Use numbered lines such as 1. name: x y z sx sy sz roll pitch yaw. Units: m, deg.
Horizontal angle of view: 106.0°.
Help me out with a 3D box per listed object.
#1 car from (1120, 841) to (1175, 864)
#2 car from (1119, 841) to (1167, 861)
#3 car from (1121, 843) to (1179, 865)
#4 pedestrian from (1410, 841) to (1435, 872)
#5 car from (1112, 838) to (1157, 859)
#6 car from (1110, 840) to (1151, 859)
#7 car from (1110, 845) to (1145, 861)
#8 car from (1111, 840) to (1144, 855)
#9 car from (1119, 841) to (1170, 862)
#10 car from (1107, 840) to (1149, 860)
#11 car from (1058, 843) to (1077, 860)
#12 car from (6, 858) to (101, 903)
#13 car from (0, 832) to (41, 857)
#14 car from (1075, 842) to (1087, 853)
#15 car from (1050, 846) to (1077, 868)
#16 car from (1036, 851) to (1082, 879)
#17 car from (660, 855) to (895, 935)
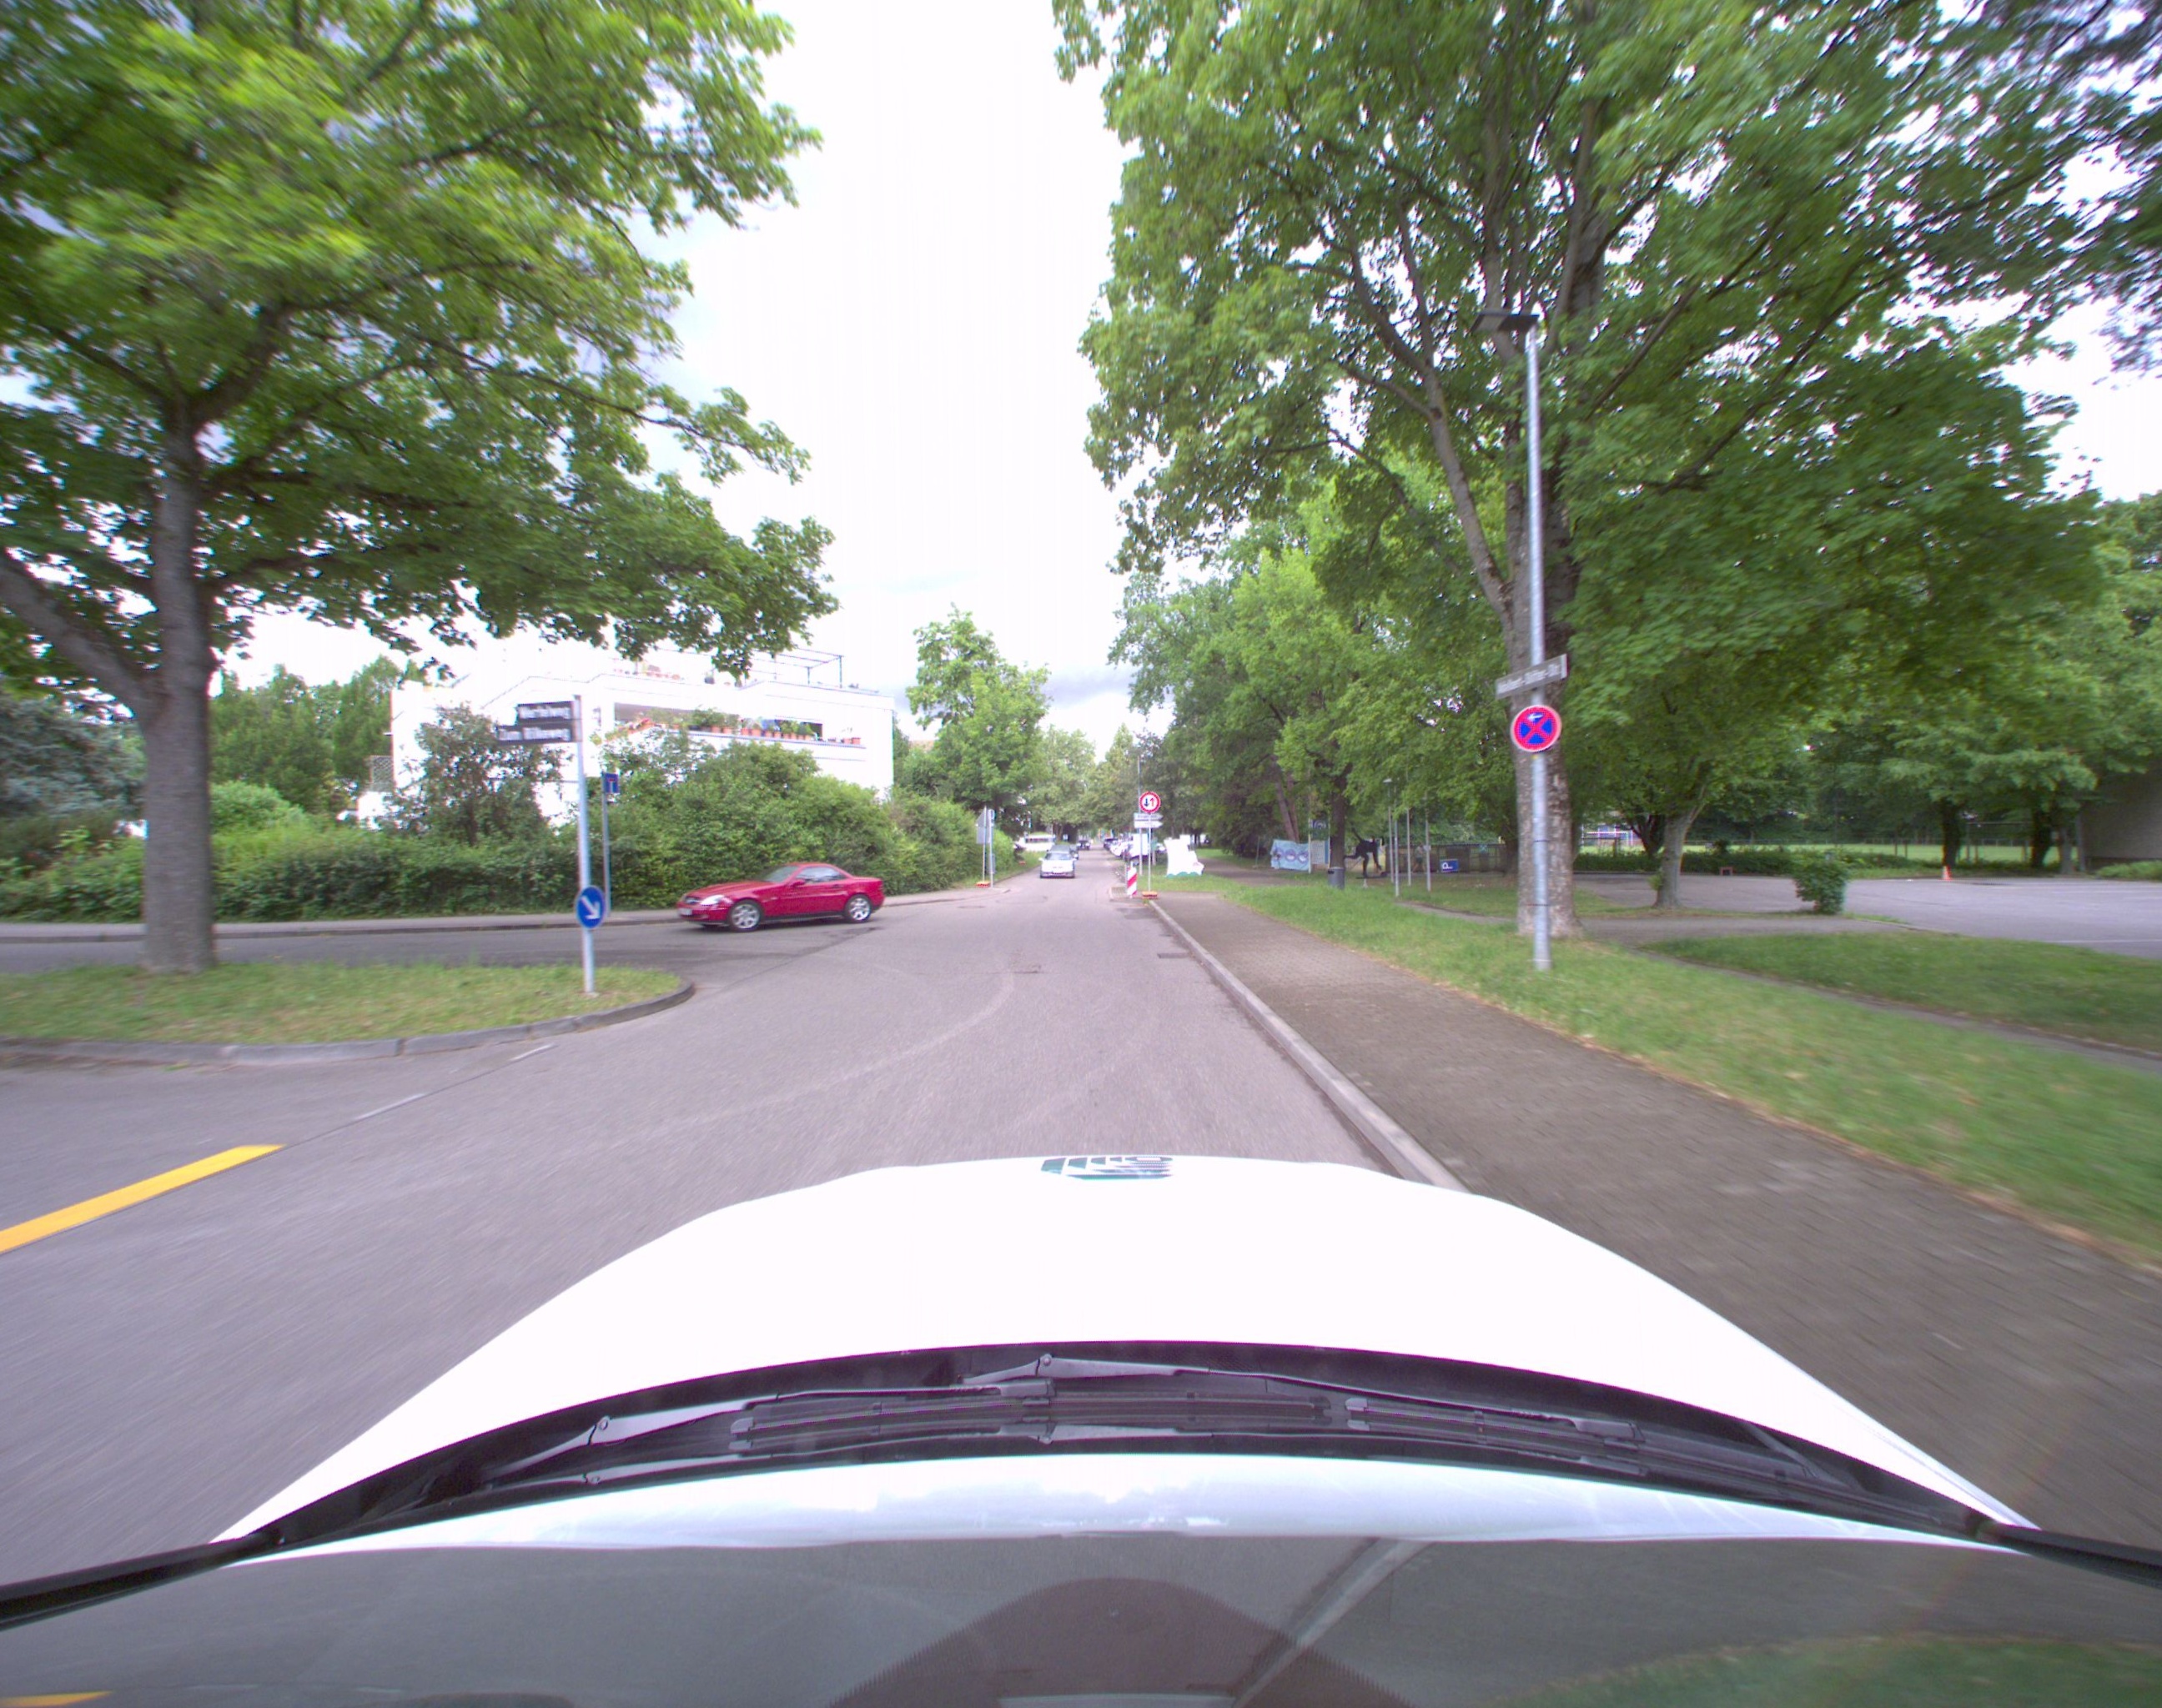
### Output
1. car: 5.072 -0.103 62.478 4.050 1.568 1.822 -2 -1 0
2. car: 5.514 -0.285 72.934 4.054 1.488 1.821 -5 1 -3
3. car: 5.078 0.008 60.368 4.050 1.434 2.000 -2 -1 0
4. pedestrian: 18.929 0.151 45.116 1.137 1.674 0.798 -3 -1 26
5. car: 5.126 -0.524 78.033 4.054 1.687 1.821 -5 1 -3
6. car: 5.303 -0.523 87.372 4.054 1.687 1.821 -5 1 -3
7. car: 5.806 -0.155 101.569 4.054 1.687 1.821 -5 1 -3
8. car: 6.155 -0.856 107.467 4.054 1.687 1.821 -5 1 -3
9. car: 5.309 -0.254 68.109 4.050 1.568 1.822 -2 1 0
10. car: 4.715 -0.396 82.076 4.054 1.687 1.821 -5 1 -3
11. car: -1.315 -0.245 81.656 1.797 1.591 4.295 -1 1 -1
12. car: -38.854 1.018 30.890 1.770 1.554 3.950 -1 -1 -45
13. car: -82.552 -0.716 63.090 1.770 1.717 3.951 -1 -1 -42
14. car: 0.048 -1.124 133.955 1.962 1.747 4.338 -1 1 0
15. car: -1.307 0.173 62.287 1.797 1.591 4.297 -1 1 1
16. car: -1.075 0.516 41.436 1.772 1.306 4.303 -1 1 6
17. car: -5.997 0.732 16.442 1.734 1.335 4.090 0 1 43
